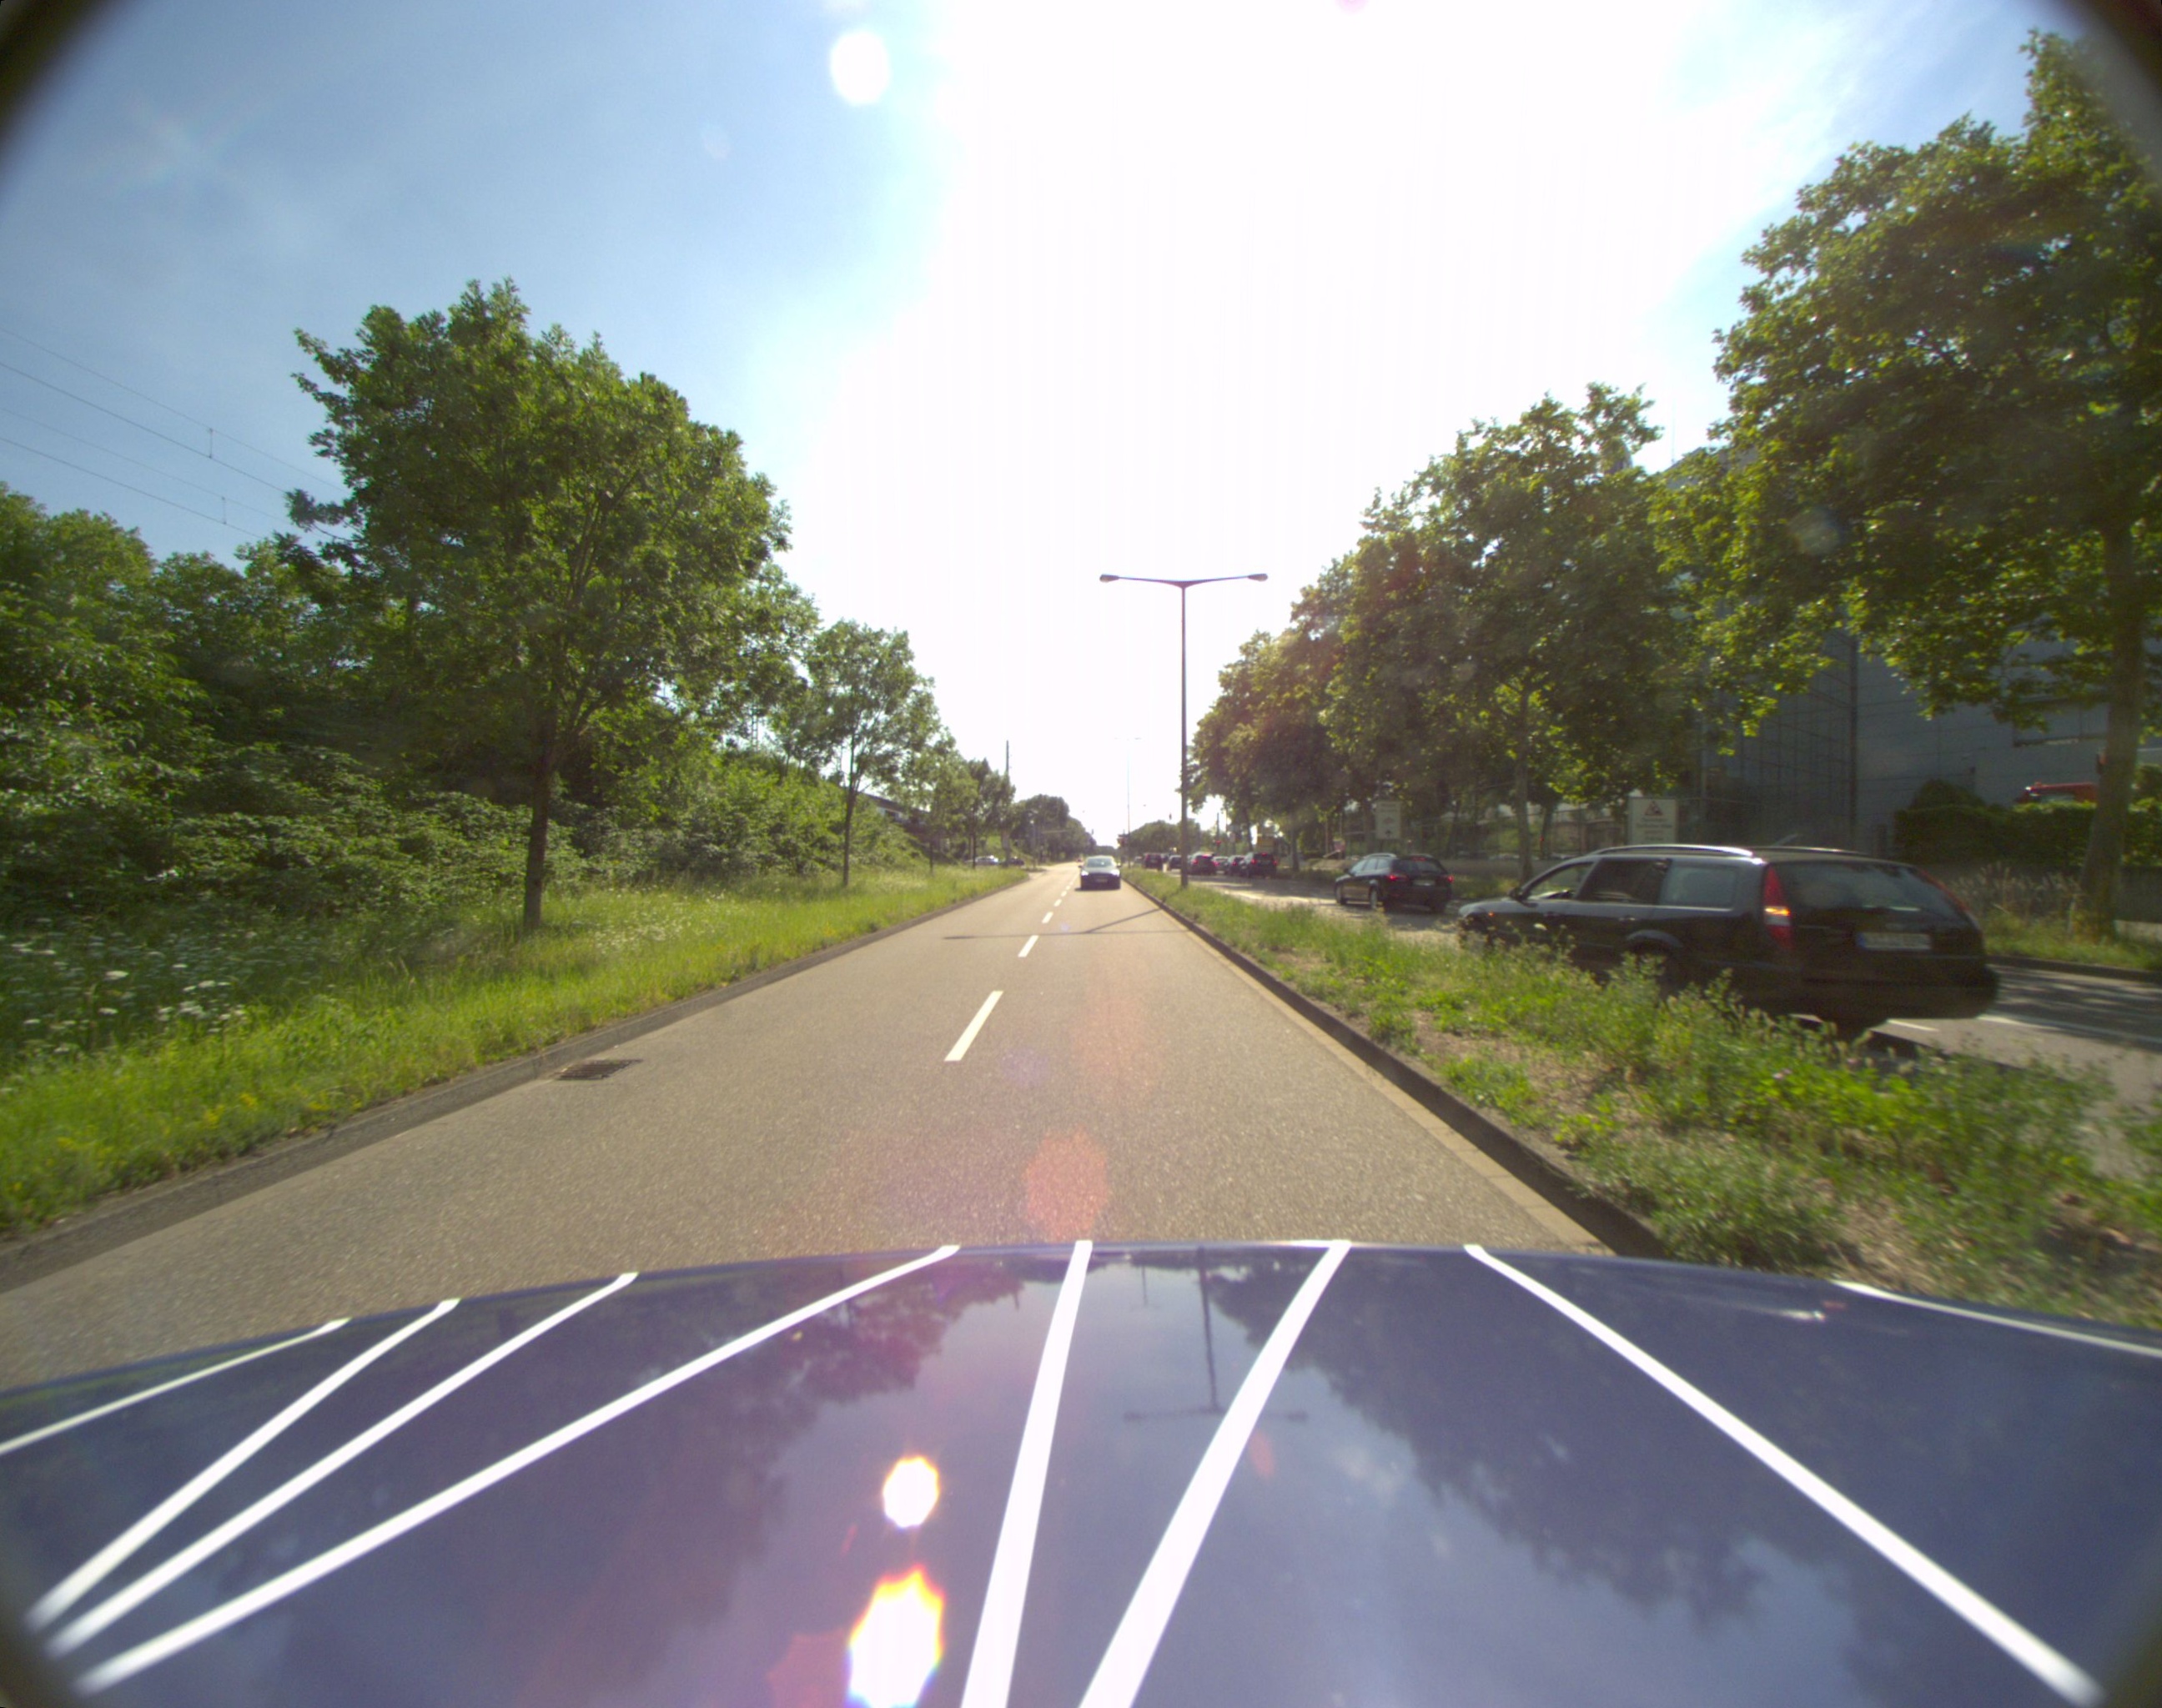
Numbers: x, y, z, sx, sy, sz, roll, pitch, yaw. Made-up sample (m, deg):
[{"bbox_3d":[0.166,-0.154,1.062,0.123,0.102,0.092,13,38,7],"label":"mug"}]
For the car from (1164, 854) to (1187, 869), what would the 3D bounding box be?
[{"bbox_3d":[9.248,0.716,74.746,1.766,1.467,3.958,0,0,0],"label":"car"}]

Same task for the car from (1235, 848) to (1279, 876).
[{"bbox_3d":[12.167,0.559,52.854,1.998,1.824,4.651,1,0,0],"label":"car"}]

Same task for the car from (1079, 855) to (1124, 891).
[{"bbox_3d":[0.847,0.779,33.417,1.827,1.498,4.216,0,0,0],"label":"car"}]

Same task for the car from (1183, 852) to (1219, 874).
[{"bbox_3d":[9.003,0.684,57.175,1.998,1.601,4.496,0,0,0],"label":"car"}]

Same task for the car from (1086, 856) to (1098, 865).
[{"bbox_3d":[2.002,1.216,136.545,1.714,1.384,4.004,-1,-2,6],"label":"car"}]

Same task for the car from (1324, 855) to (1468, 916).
[{"bbox_3d":[8.496,0.773,21.065,1.832,1.459,4.987,0,0,-1],"label":"car"}]

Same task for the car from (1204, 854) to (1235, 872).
[{"bbox_3d":[12.088,0.775,66.559,1.895,1.441,5.004,1,0,1],"label":"car"}]

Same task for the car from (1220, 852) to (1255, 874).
[{"bbox_3d":[12.260,0.677,59.757,1.892,1.581,4.445,1,0,1],"label":"car"}]

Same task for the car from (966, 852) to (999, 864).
[{"bbox_3d":[-12.912,0.508,99.506,4.007,1.619,1.768,0,1,-32],"label":"car"}]

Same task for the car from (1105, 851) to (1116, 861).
[{"bbox_3d":[5.409,0.384,137.866,1.714,1.498,4.004,-1,-2,6],"label":"car"}]

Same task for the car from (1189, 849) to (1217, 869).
[{"bbox_3d":[12.066,0.467,75.535,1.943,1.908,5.228,0,0,0],"label":"car"}]

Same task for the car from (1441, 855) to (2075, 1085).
[{"bbox_3d":[5.517,0.767,7.275,1.777,1.459,4.670,1,0,-2],"label":"car"}]

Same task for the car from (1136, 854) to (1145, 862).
[{"bbox_3d":[14.136,1.019,179.689,1.998,1.713,5.168,-1,-2,5],"label":"car"}]

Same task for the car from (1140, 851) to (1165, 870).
[{"bbox_3d":[6.488,0.580,69.356,1.812,1.606,4.491,0,0,-1],"label":"car"}]

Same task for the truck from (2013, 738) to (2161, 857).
[{"bbox_3d":[32.787,-1.605,20.842,2.678,3.376,8.965,-1,0,-36],"label":"truck"}]
